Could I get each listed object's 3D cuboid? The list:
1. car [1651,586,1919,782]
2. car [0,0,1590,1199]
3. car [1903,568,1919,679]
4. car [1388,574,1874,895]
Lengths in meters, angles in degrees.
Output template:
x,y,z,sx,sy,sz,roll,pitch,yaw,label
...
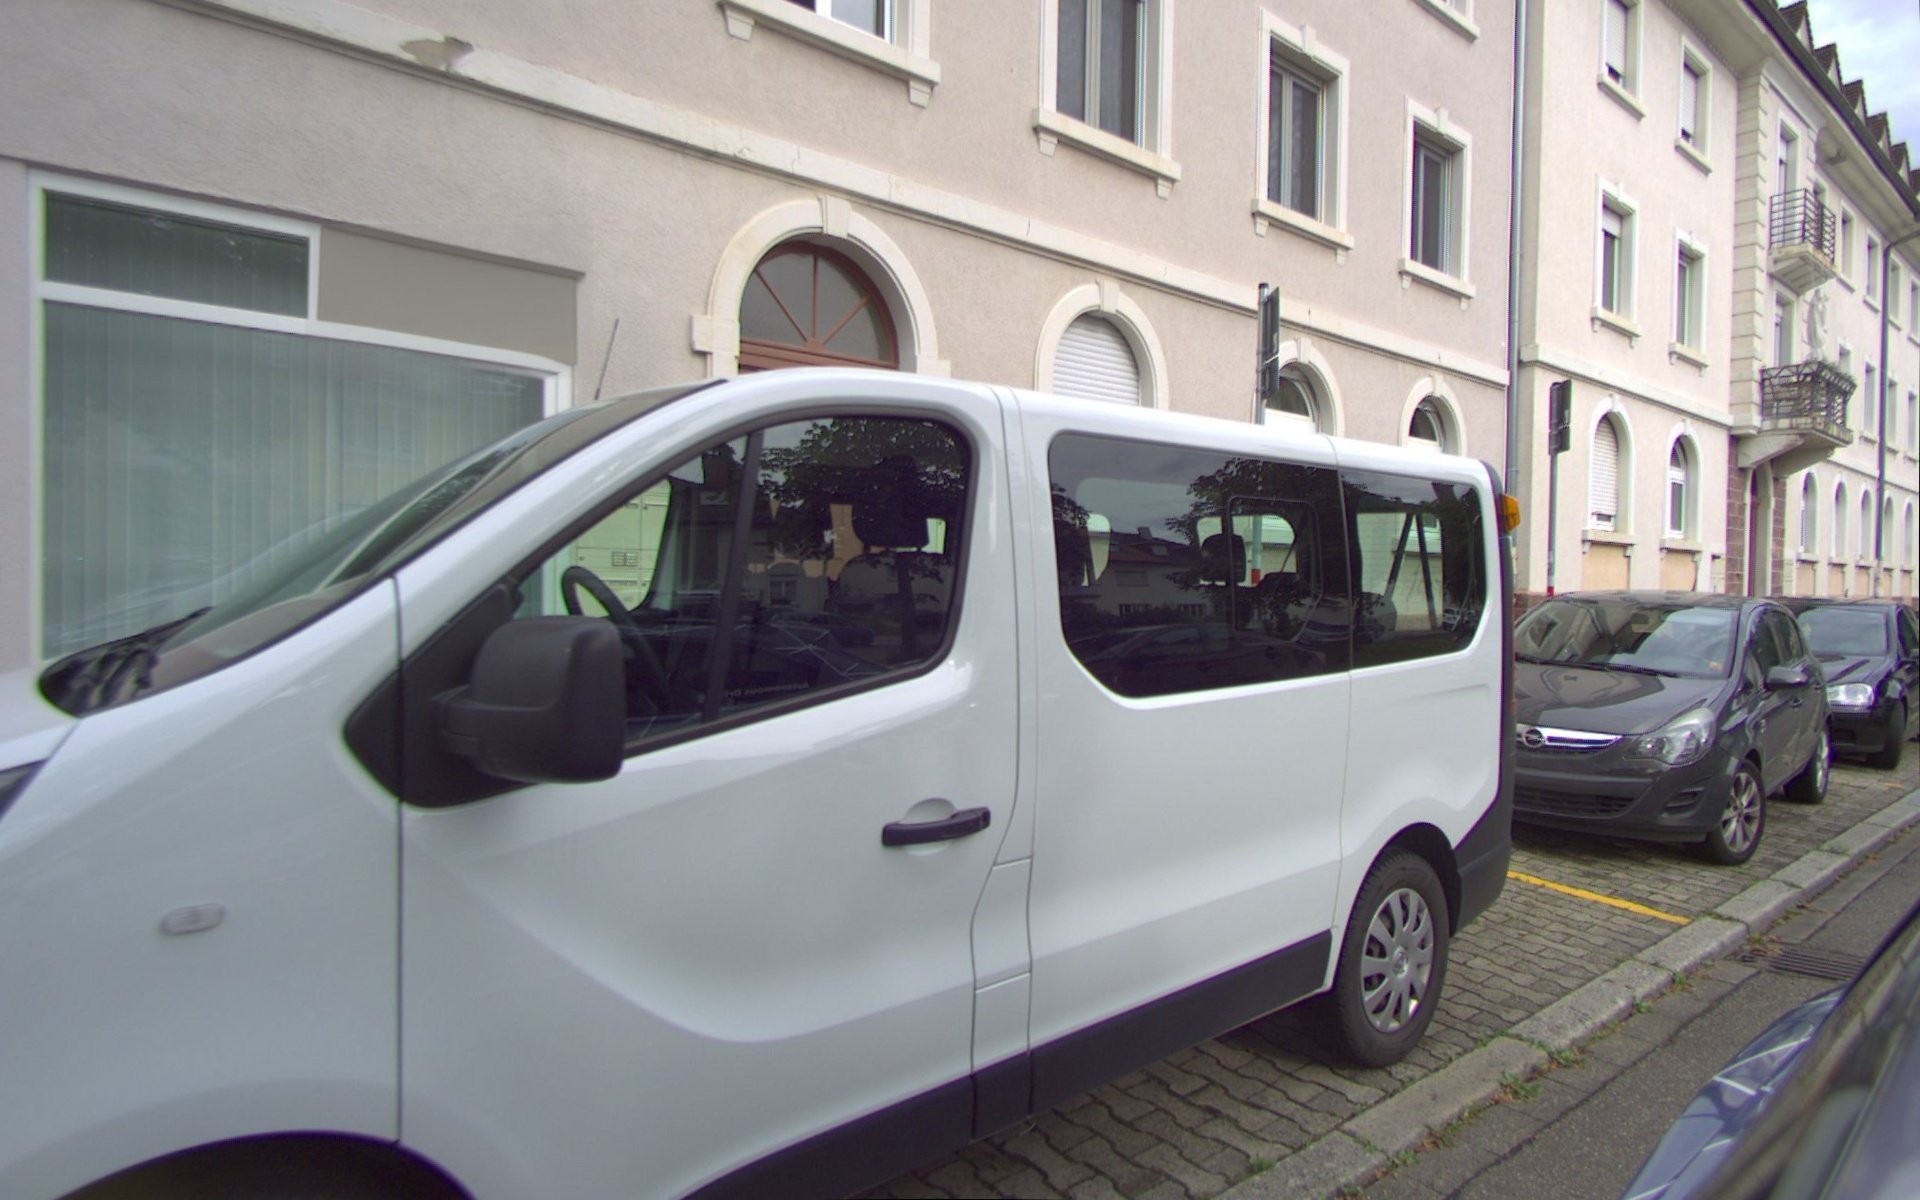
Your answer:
x,y,z,sx,sy,sz,roll,pitch,yaw,label
8.710,0.644,10.068,4.461,1.471,1.693,-1,4,-38,car
-0.283,0.297,2.875,4.921,2.020,1.884,-1,3,-38,car
17.752,0.406,17.114,4.109,1.807,1.944,-1,3,-38,car
4.619,0.608,6.752,3.834,1.471,1.691,-1,4,-41,car
